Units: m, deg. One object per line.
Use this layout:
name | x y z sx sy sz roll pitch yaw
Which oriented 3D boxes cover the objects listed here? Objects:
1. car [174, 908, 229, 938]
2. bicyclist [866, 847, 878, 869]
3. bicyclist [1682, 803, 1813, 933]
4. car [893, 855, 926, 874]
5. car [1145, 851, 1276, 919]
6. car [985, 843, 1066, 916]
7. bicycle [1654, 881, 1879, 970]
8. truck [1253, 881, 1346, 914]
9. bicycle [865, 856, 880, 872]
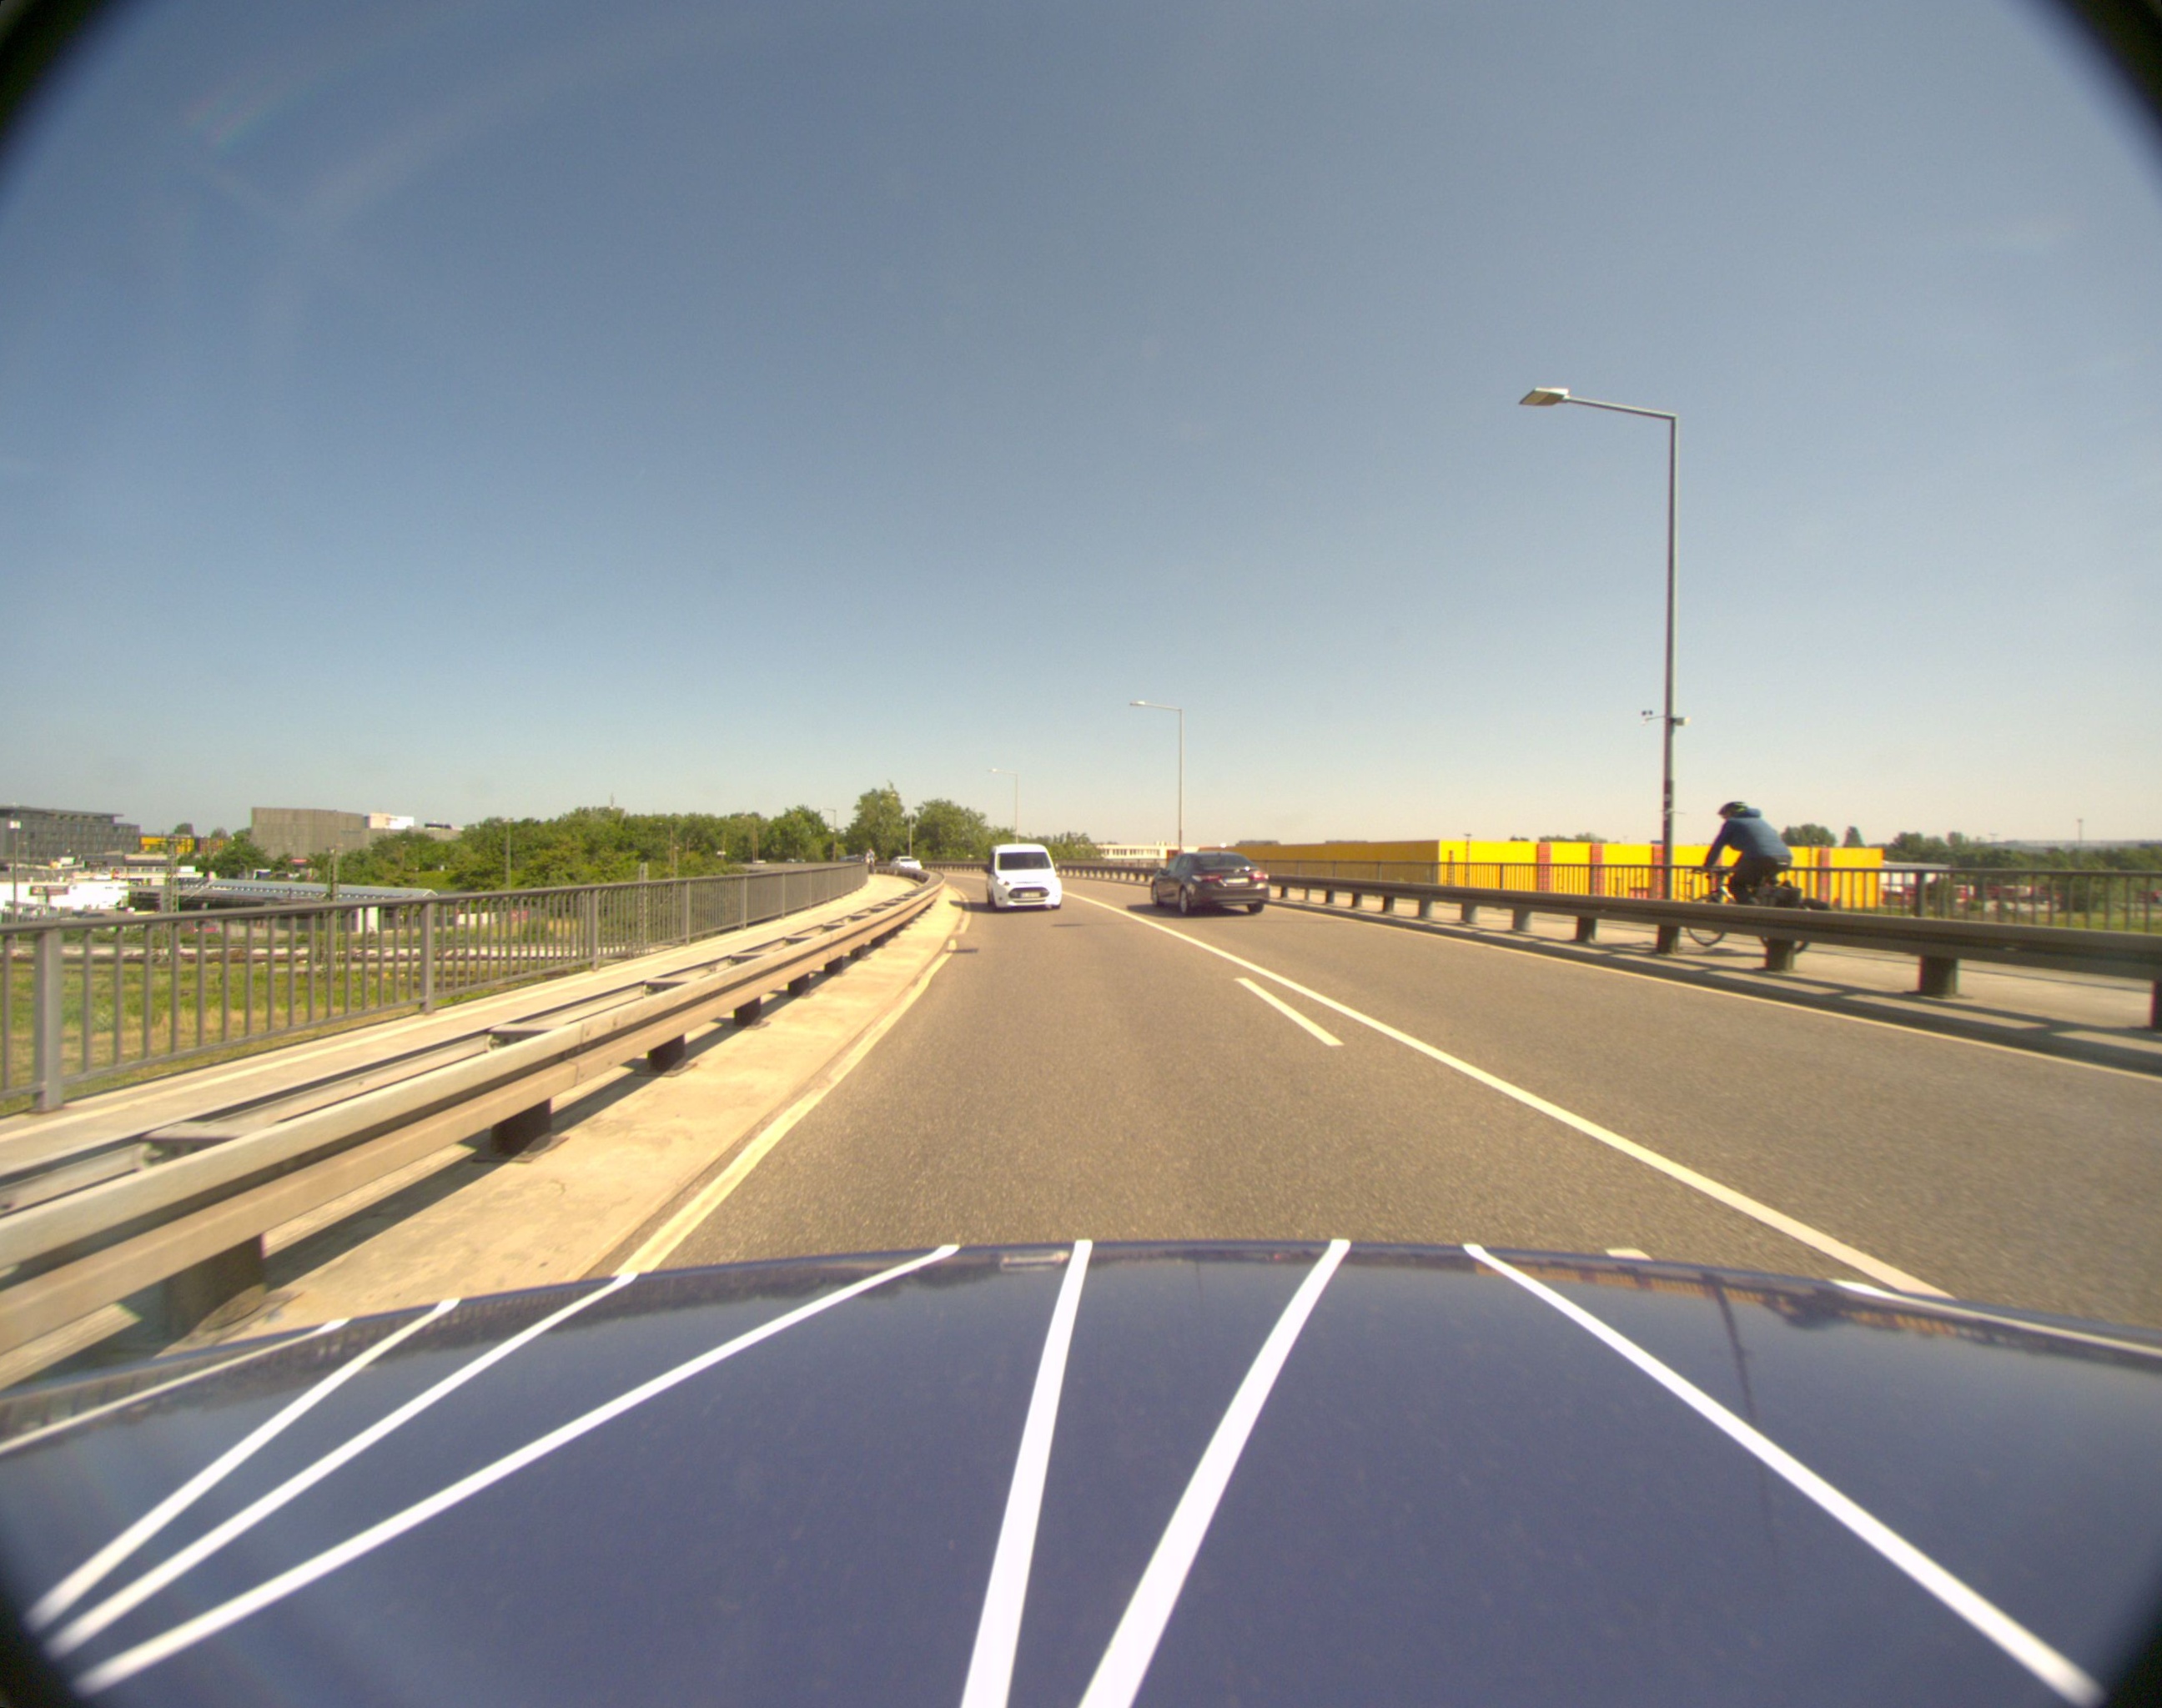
car | -96.660 7.501 83.494 5.364 2.650 2.310 1 6 25
bicyclist | -14.440 0.263 52.536 0.661 1.510 0.801 1 -2 -27
bicyclist | 8.131 0.164 9.319 0.662 1.488 1.016 -2 1 -4
car | -14.410 0.879 63.585 1.849 1.480 4.143 -2 1 -24
car | 2.978 0.666 18.664 1.824 1.421 4.860 -1 0 -7
car | -1.680 0.634 21.562 1.898 1.785 4.444 -2 1 -8
bicycle | 8.218 0.813 9.264 0.931 0.886 1.967 -2 0 -2
truck | 43.728 8.601 152.052 17.559 5.644 5.967 -1 1 -17
bicycle | -14.428 0.691 52.492 0.705 1.013 1.842 2 -2 -24
